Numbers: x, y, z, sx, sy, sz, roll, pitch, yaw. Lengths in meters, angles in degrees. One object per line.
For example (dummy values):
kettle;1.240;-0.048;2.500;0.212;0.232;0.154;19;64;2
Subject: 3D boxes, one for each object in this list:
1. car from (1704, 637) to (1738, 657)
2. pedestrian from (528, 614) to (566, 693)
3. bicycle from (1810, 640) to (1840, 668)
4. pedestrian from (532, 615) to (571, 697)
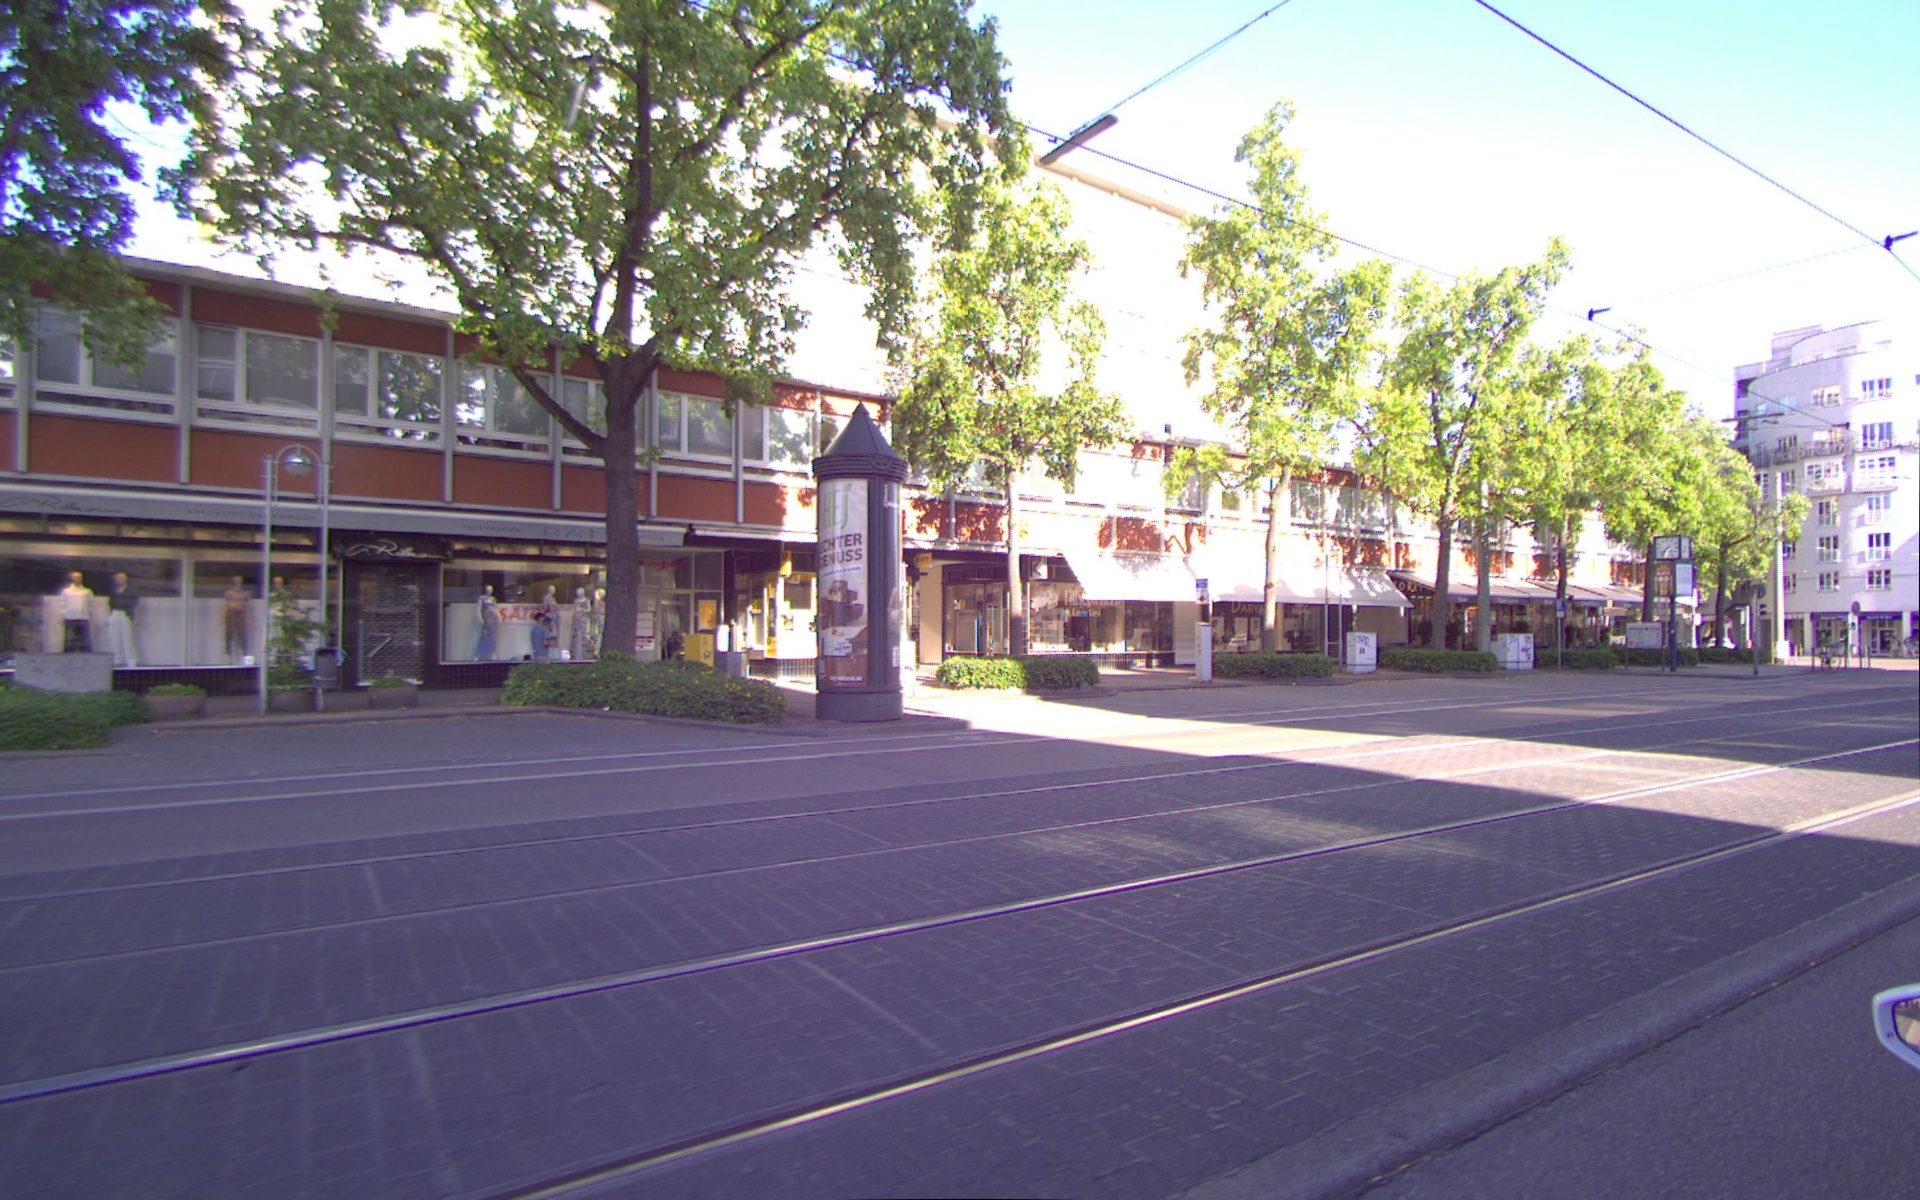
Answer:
car;61.714;3.755;81.443;1.778;1.421;4.078;-1;0;43
pedestrian;-9.349;1.203;22.743;0.698;1.773;0.569;1;-2;-32
bicycle;38.663;2.405;44.893;2.213;1.202;0.494;1;-2;-35
pedestrian;-9.039;1.228;22.222;0.698;1.795;0.569;1;-2;-32
